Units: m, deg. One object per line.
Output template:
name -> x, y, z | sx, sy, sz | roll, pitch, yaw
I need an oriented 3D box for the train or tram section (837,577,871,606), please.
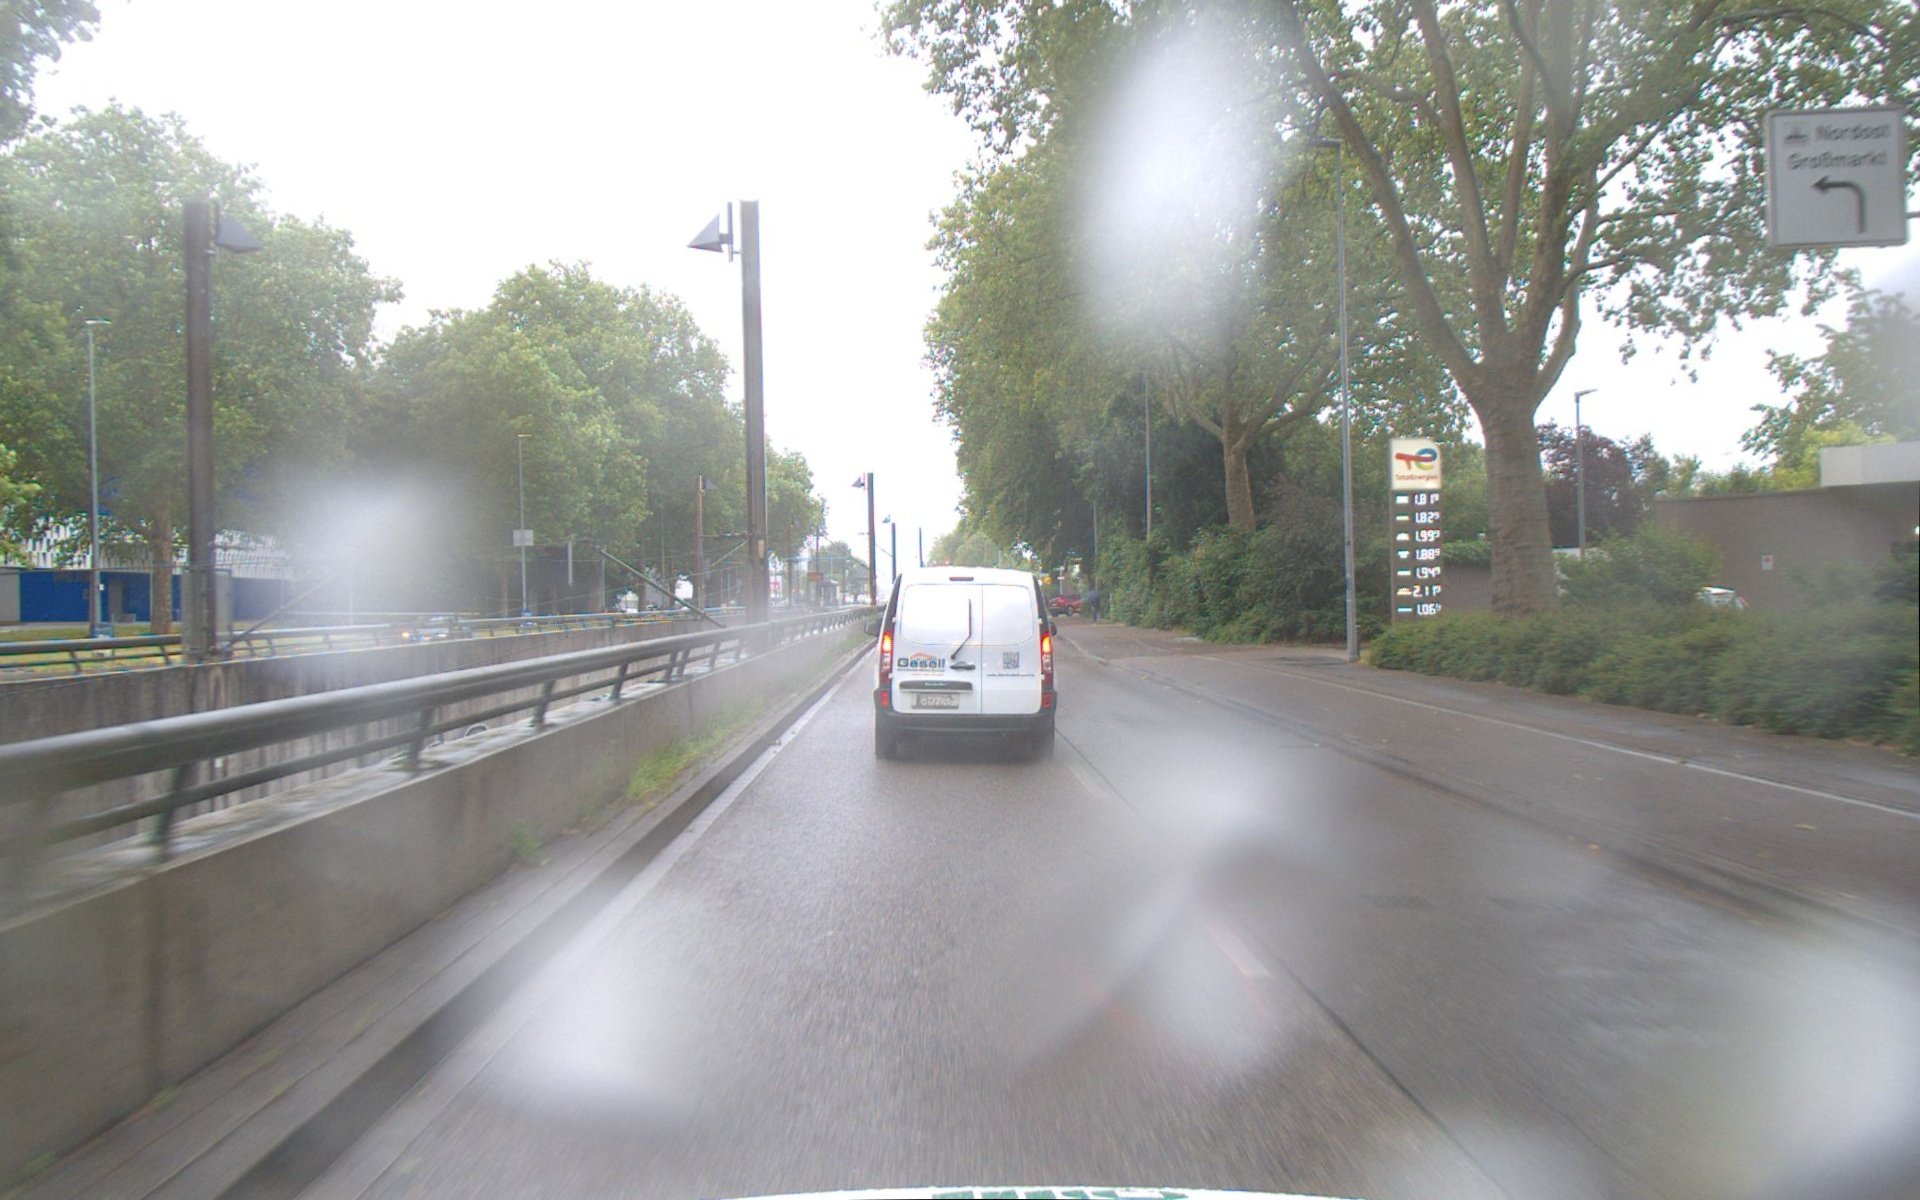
train or tram section -> -15.575, -1.212, 245.912 | 3.693, 4.107, 27.087 | 1, 0, -1

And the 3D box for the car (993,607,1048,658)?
car -> 2.244, 1.155, 60.528 | 1.952, 1.780, 4.001 | 1, 0, 3

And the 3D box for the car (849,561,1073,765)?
car -> -0.038, 0.562, 16.894 | 1.984, 1.806, 4.273 | 1, 0, -1

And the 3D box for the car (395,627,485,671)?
car -> -18.797, 1.765, 59.940 | 1.952, 1.428, 3.795 | -1, 0, 2

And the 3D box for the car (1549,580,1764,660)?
car -> 13.463, 0.417, 32.111 | 1.594, 1.457, 3.501 | 1, -2, -42

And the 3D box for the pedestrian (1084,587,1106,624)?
pedestrian -> 6.301, 0.254, 77.394 | 0.947, 1.732, 1.141 | 0, 0, 0

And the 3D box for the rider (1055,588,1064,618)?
rider -> 6.829, 0.230, 113.494 | 0.535, 2.049, 0.484 | 1, 0, -1
